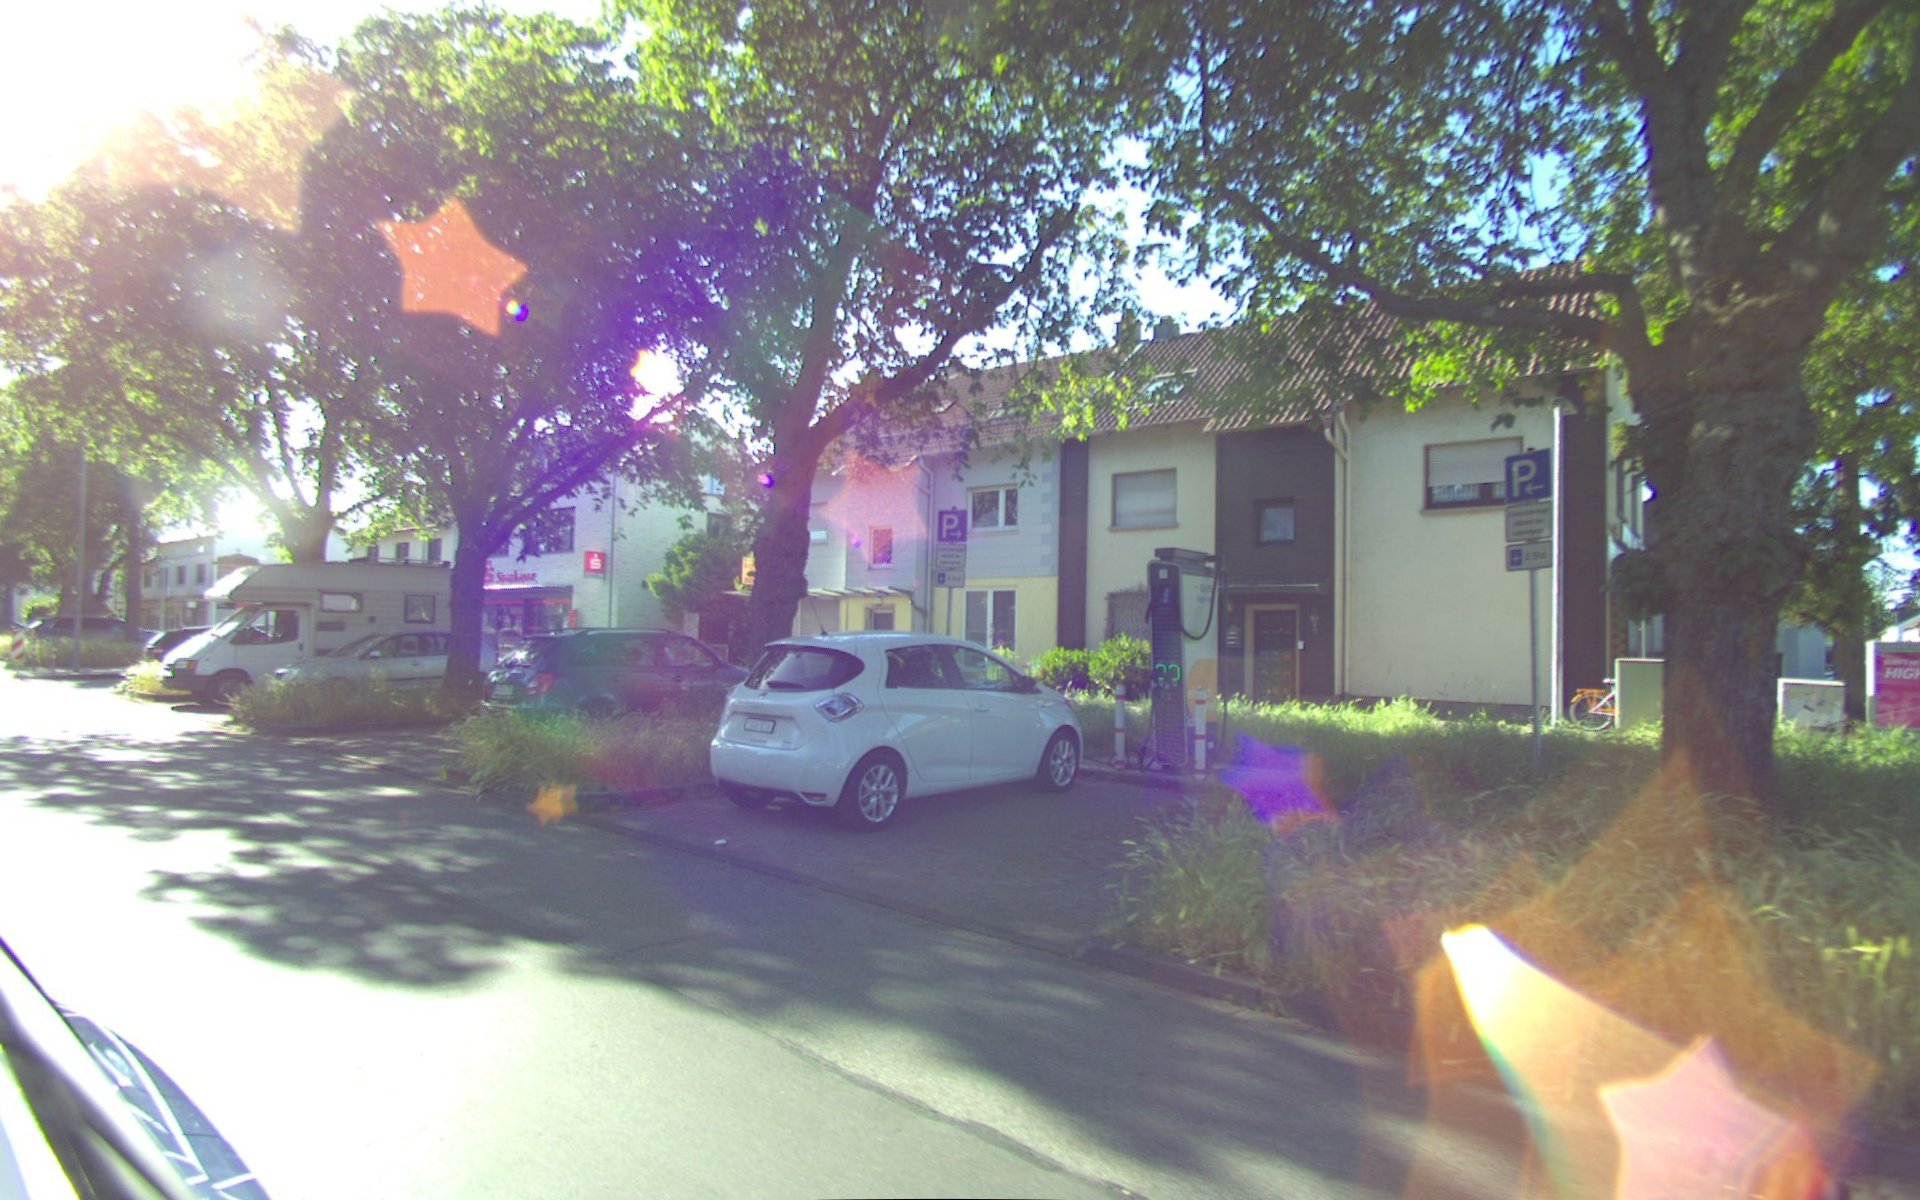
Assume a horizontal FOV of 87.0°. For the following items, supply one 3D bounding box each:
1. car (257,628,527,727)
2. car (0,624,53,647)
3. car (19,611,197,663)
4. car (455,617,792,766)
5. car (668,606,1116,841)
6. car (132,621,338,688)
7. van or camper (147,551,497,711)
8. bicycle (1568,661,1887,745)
[{"bbox_3d":[-10.493,1.337,18.907,1.998,1.469,3.947,0,1,40],"label":"car"},{"bbox_3d":[-61.153,2.237,64.788,1.999,1.426,4.336,0,-1,40],"label":"car"},{"bbox_3d":[-33.215,1.377,39.584,1.997,1.741,5.014,0,1,37],"label":"car"},{"bbox_3d":[-4.475,1.098,13.892,1.999,1.601,3.947,0,1,40],"label":"car"},{"bbox_3d":[-0.427,0.951,9.376,1.965,1.673,3.946,-1,-3,40],"label":"car"},{"bbox_3d":[-17.922,1.284,25.130,1.640,1.460,3.942,0,0,44],"label":"car"},{"bbox_3d":[-12.781,0.504,20.669,2.000,2.826,5.713,0,1,43],"label":"van or camper"},{"bbox_3d":[12.252,1.619,16.412,4.033,1.185,0.700,-1,-3,25],"label":"bicycle"}]
